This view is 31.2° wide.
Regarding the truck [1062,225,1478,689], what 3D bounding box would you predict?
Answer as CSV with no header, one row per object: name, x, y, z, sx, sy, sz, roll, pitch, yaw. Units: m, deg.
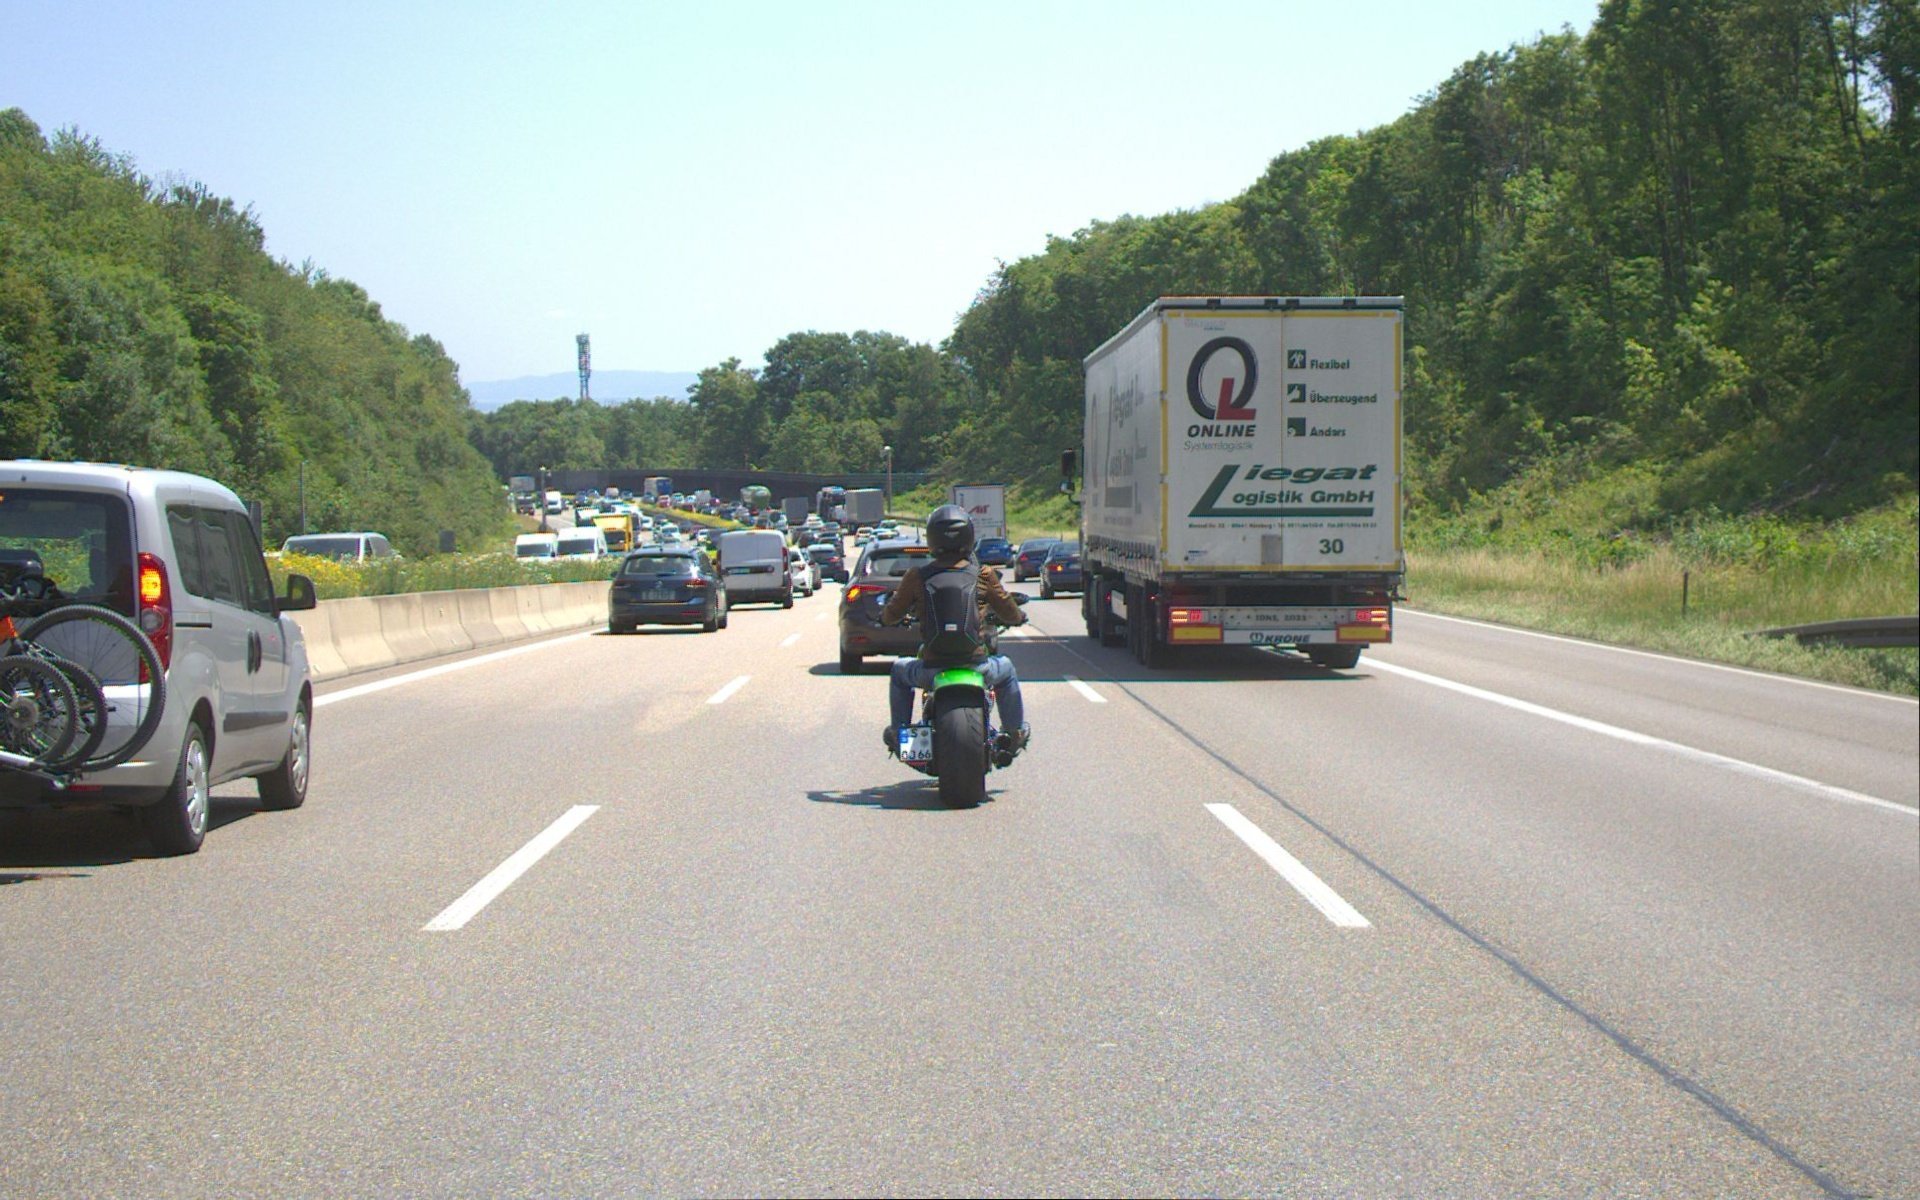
truck,3.446,-1.805,44.195,3.383,4.701,17.711,1,2,-1

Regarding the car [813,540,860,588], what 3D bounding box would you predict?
car,-5.015,-1.481,140.303,1.831,1.804,4.121,0,3,-1

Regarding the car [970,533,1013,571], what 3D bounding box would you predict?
car,1.412,-2.191,155.896,1.831,1.553,4.121,0,3,-1

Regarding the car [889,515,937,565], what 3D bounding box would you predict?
car,-1.819,-2.326,132.029,1.831,1.804,4.121,0,3,-1

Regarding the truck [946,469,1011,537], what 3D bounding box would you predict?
truck,0.916,-5.070,177.491,3.067,3.335,9.653,1,2,-1

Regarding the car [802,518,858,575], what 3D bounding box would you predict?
car,-4.453,-1.855,118.012,1.831,1.804,4.121,0,3,-1

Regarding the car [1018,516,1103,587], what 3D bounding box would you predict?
car,2.396,-1.188,82.787,1.831,1.553,4.121,0,3,-1

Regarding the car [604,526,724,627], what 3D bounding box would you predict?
car,-4.997,-0.435,58.504,1.757,1.538,4.396,0,3,-1

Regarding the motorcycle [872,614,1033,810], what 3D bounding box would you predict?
motorcycle,-0.039,0.604,19.508,0.862,0.978,2.131,0,2,0

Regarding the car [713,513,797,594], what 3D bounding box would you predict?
car,-4.875,-1.127,82.014,1.831,1.804,4.121,0,3,-1

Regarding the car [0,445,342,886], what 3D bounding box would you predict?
car,-4.465,0.213,17.098,1.898,1.841,5.484,0,1,-1

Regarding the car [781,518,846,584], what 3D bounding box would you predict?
car,-4.331,-1.475,101.902,1.831,1.804,4.121,0,3,-1

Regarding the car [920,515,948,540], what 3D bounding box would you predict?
car,-1.767,-4.895,231.945,1.831,1.553,4.121,0,3,-1

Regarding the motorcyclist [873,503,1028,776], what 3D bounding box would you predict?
motorcyclist,-0.051,0.206,19.453,0.856,1.509,0.914,0,2,0

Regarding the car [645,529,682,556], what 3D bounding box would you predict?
car,-18.932,-3.670,219.775,1.911,1.683,4.832,1,1,0

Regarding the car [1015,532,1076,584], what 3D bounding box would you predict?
car,2.788,-1.403,112.845,1.831,1.553,4.121,0,3,-1

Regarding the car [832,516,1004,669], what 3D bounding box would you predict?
car,-0.496,-0.134,39.272,1.845,1.552,4.440,0,3,-1
